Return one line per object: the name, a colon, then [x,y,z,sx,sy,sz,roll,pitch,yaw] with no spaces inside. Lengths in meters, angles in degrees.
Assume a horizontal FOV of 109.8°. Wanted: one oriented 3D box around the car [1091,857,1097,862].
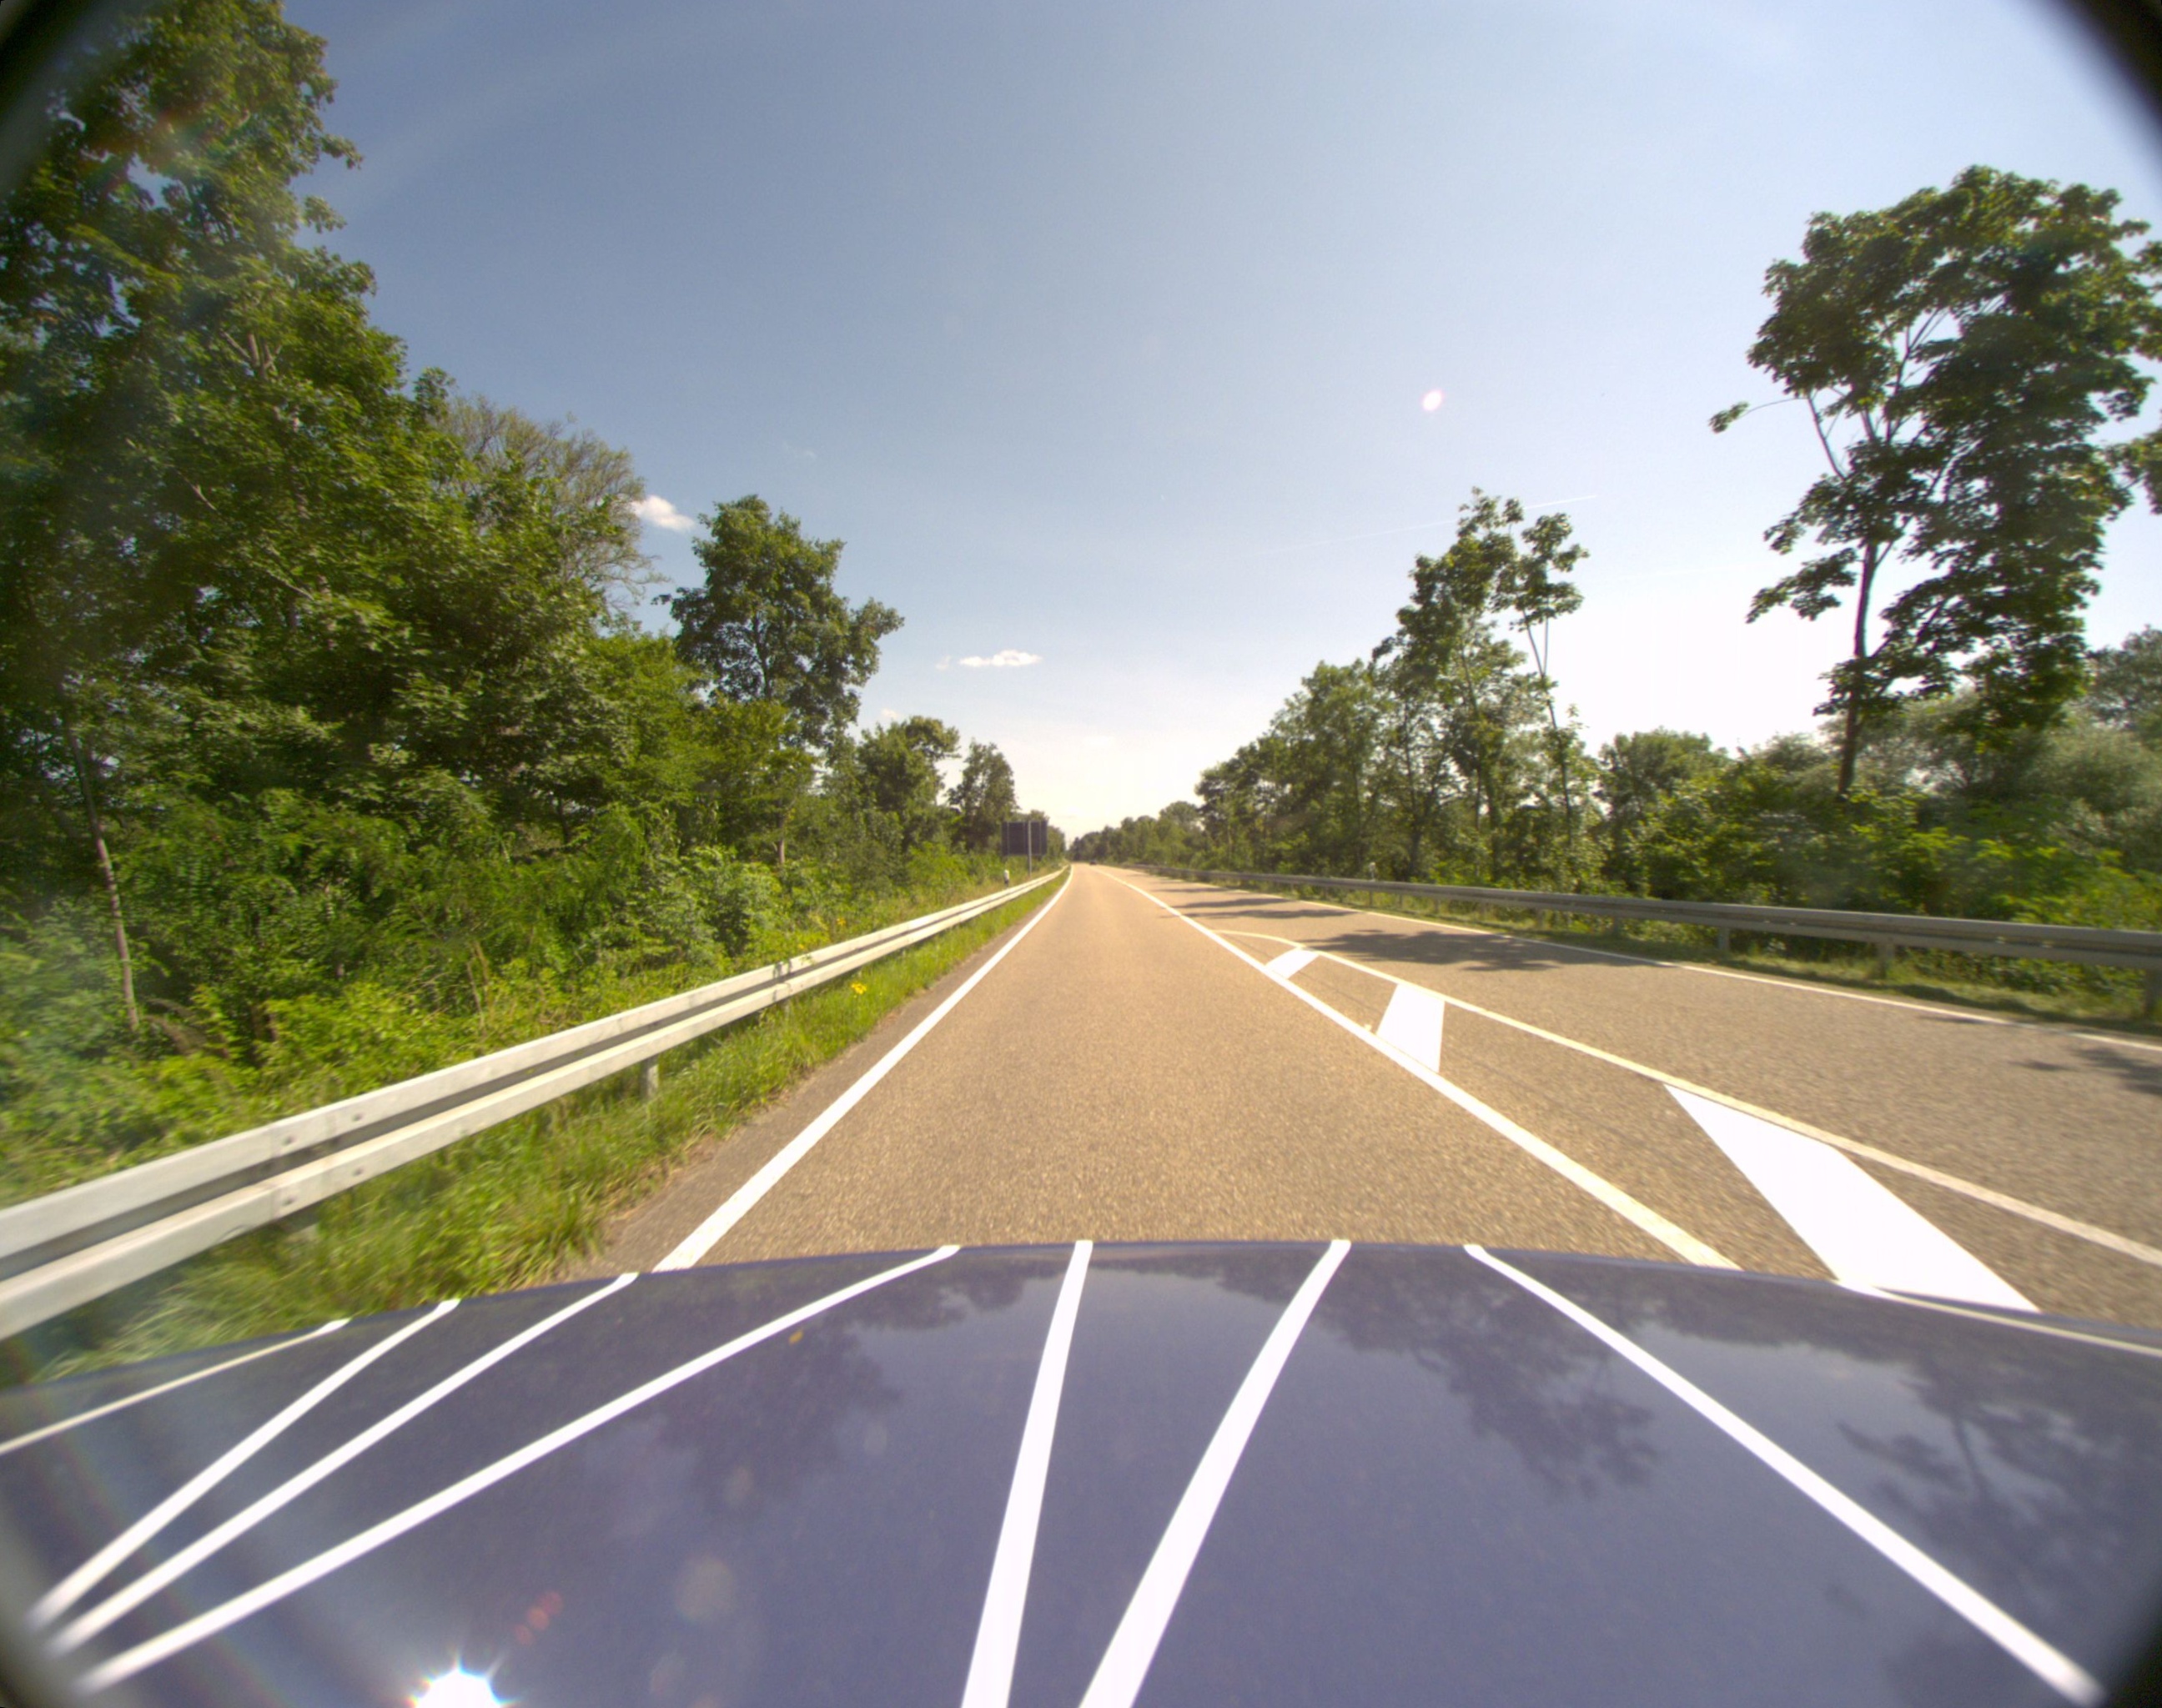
car: [3.628,1.558,213.099,1.750,1.416,4.677,-1,0,0]
